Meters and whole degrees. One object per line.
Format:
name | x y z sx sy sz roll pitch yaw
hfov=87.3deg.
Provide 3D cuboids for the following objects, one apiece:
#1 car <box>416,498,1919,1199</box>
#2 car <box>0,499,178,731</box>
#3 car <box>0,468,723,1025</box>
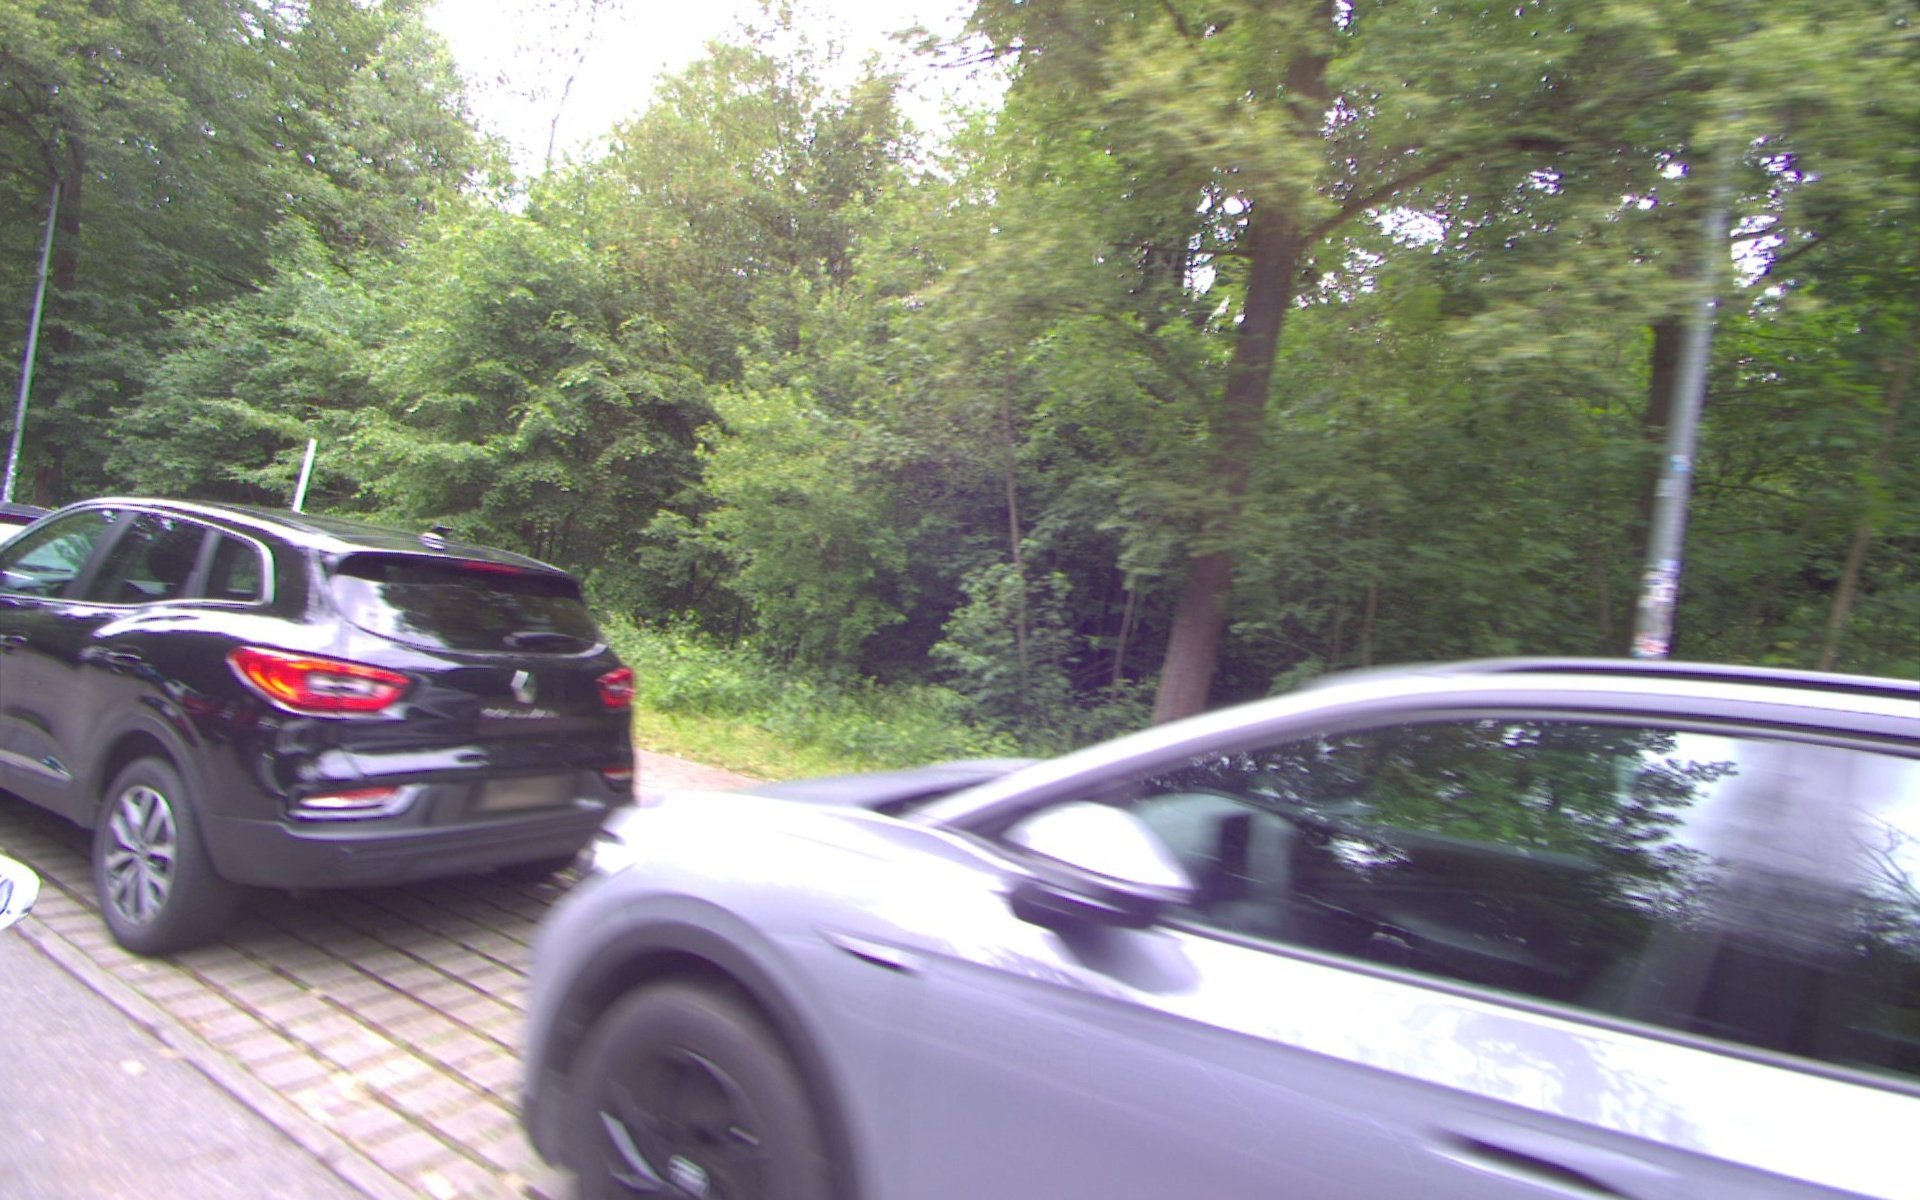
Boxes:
car | 1.234 0.893 2.010 4.405 1.605 1.906 7 -2 30
car | -8.028 -0.147 7.480 4.664 1.451 1.740 7 -2 30
car | -3.516 0.342 4.877 4.348 1.578 1.843 7 -2 29
